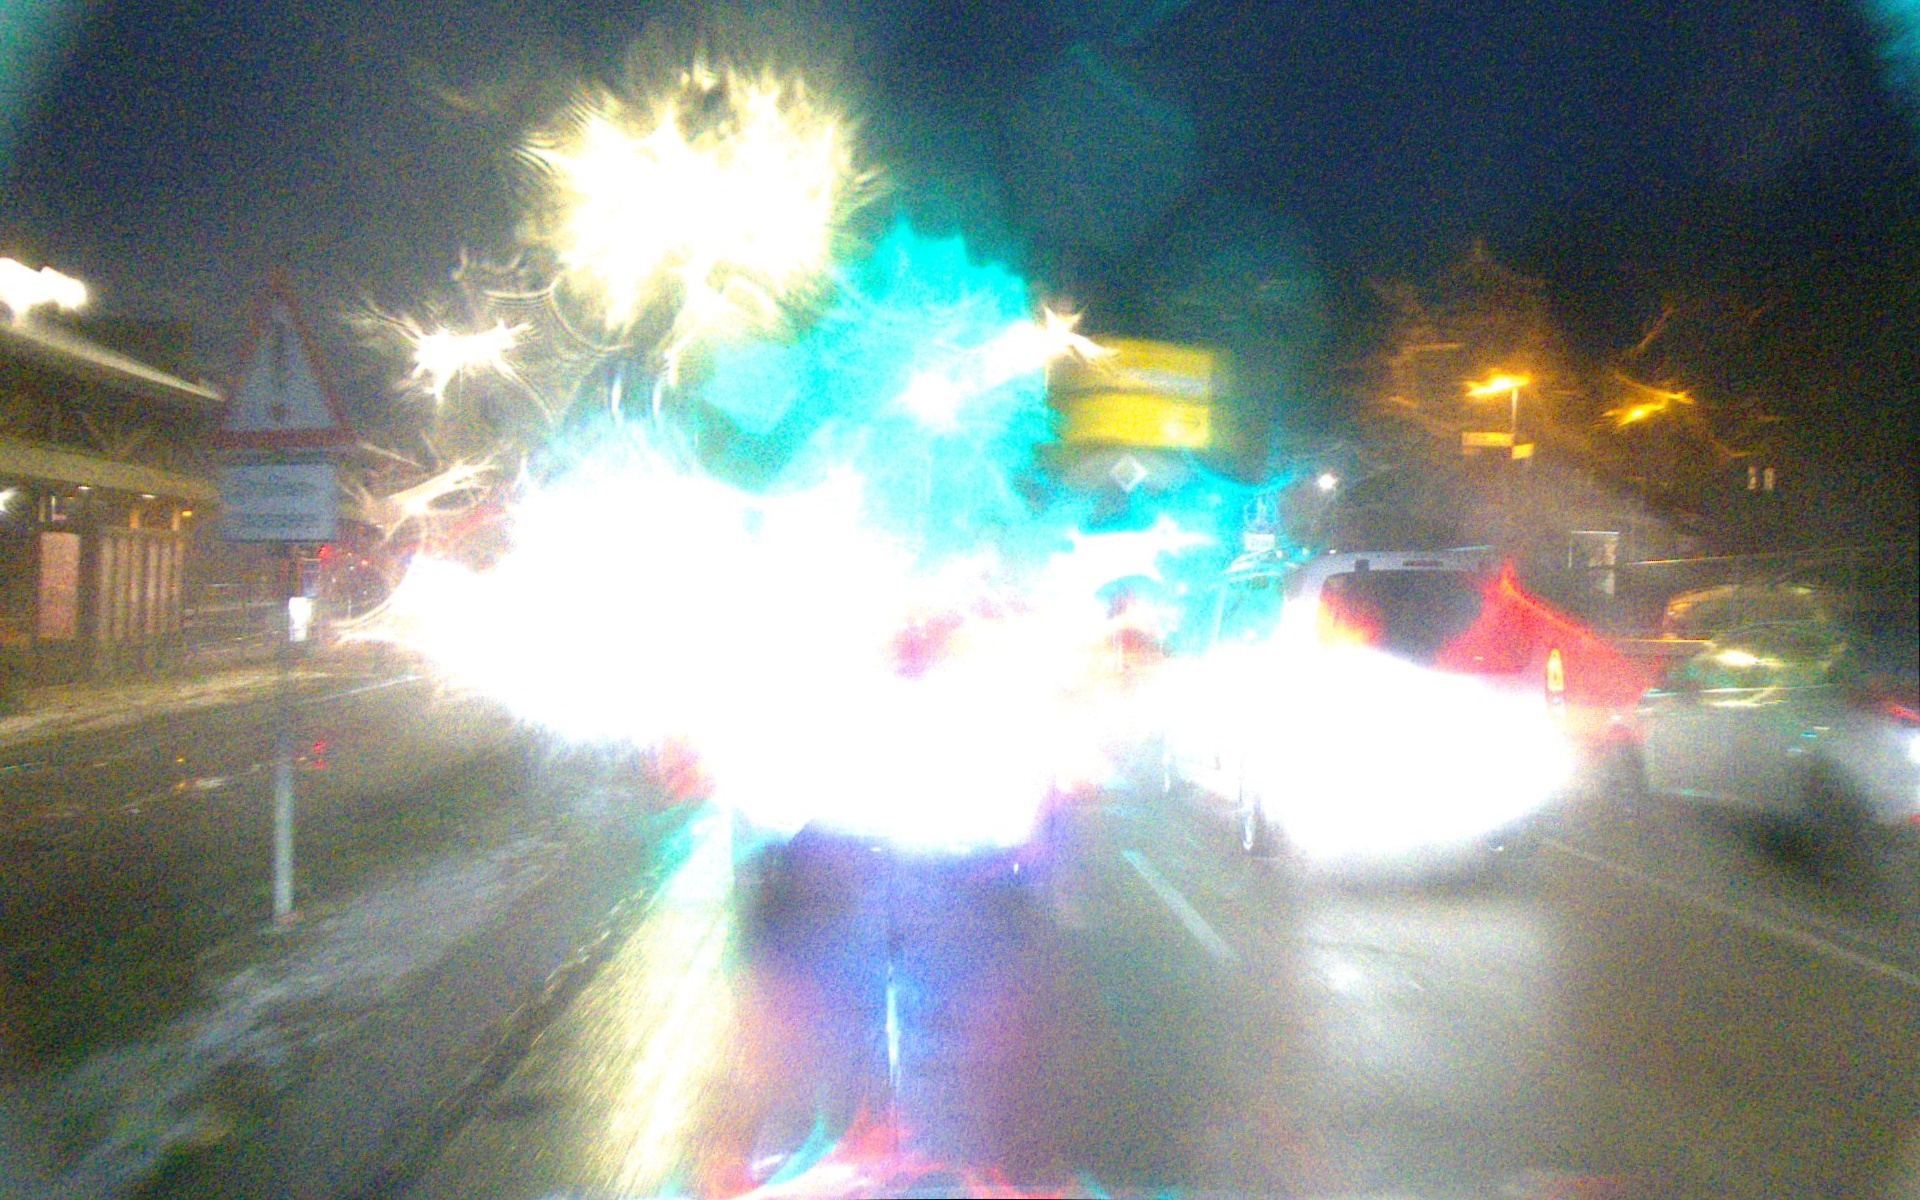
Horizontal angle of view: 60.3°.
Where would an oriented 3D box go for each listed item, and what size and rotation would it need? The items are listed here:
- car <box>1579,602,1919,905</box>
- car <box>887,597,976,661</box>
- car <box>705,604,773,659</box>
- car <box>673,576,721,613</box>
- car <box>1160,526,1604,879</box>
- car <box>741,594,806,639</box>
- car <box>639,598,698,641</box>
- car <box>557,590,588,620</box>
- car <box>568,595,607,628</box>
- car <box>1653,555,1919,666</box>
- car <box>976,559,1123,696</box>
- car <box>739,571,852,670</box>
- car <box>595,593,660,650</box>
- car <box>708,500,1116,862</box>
[{"bbox_3d":[5.598,0.774,10.309,1.749,1.467,4.236,0,1,-2],"label":"car"},{"bbox_3d":[-0.864,0.800,47.886,1.957,1.748,3.990,1,0,-10],"label":"car"},{"bbox_3d":[-7.620,1.062,56.808,1.959,1.763,3.987,1,0,-13],"label":"car"},{"bbox_3d":[-13.699,-0.282,85.943,1.961,1.852,3.982,1,0,-16],"label":"car"},{"bbox_3d":[2.579,0.570,11.231,1.814,1.897,4.339,1,0,-1],"label":"car"},{"bbox_3d":[-7.386,0.635,65.290,1.960,1.699,3.984,1,0,-15],"label":"car"},{"bbox_3d":[-13.293,0.852,75.286,1.964,1.856,3.977,1,0,-19],"label":"car"},{"bbox_3d":[-27.455,0.331,117.151,1.960,2.049,3.984,1,0,-15],"label":"car"},{"bbox_3d":[-22.002,0.667,97.625,1.962,1.856,3.981,1,0,-17],"label":"car"},{"bbox_3d":[12.346,0.147,23.795,4.244,1.485,1.849,1,0,28],"label":"car"},{"bbox_3d":[1.410,0.428,27.625,1.930,2.082,3.996,1,0,-4],"label":"car"},{"bbox_3d":[-3.735,0.440,36.976,1.960,2.049,3.986,1,0,-14],"label":"car"},{"bbox_3d":[-12.495,0.781,61.990,1.982,1.920,4.433,2,1,-16],"label":"car"},{"bbox_3d":[-0.416,0.411,10.367,1.975,1.747,4.447,1,0,-5],"label":"car"}]
